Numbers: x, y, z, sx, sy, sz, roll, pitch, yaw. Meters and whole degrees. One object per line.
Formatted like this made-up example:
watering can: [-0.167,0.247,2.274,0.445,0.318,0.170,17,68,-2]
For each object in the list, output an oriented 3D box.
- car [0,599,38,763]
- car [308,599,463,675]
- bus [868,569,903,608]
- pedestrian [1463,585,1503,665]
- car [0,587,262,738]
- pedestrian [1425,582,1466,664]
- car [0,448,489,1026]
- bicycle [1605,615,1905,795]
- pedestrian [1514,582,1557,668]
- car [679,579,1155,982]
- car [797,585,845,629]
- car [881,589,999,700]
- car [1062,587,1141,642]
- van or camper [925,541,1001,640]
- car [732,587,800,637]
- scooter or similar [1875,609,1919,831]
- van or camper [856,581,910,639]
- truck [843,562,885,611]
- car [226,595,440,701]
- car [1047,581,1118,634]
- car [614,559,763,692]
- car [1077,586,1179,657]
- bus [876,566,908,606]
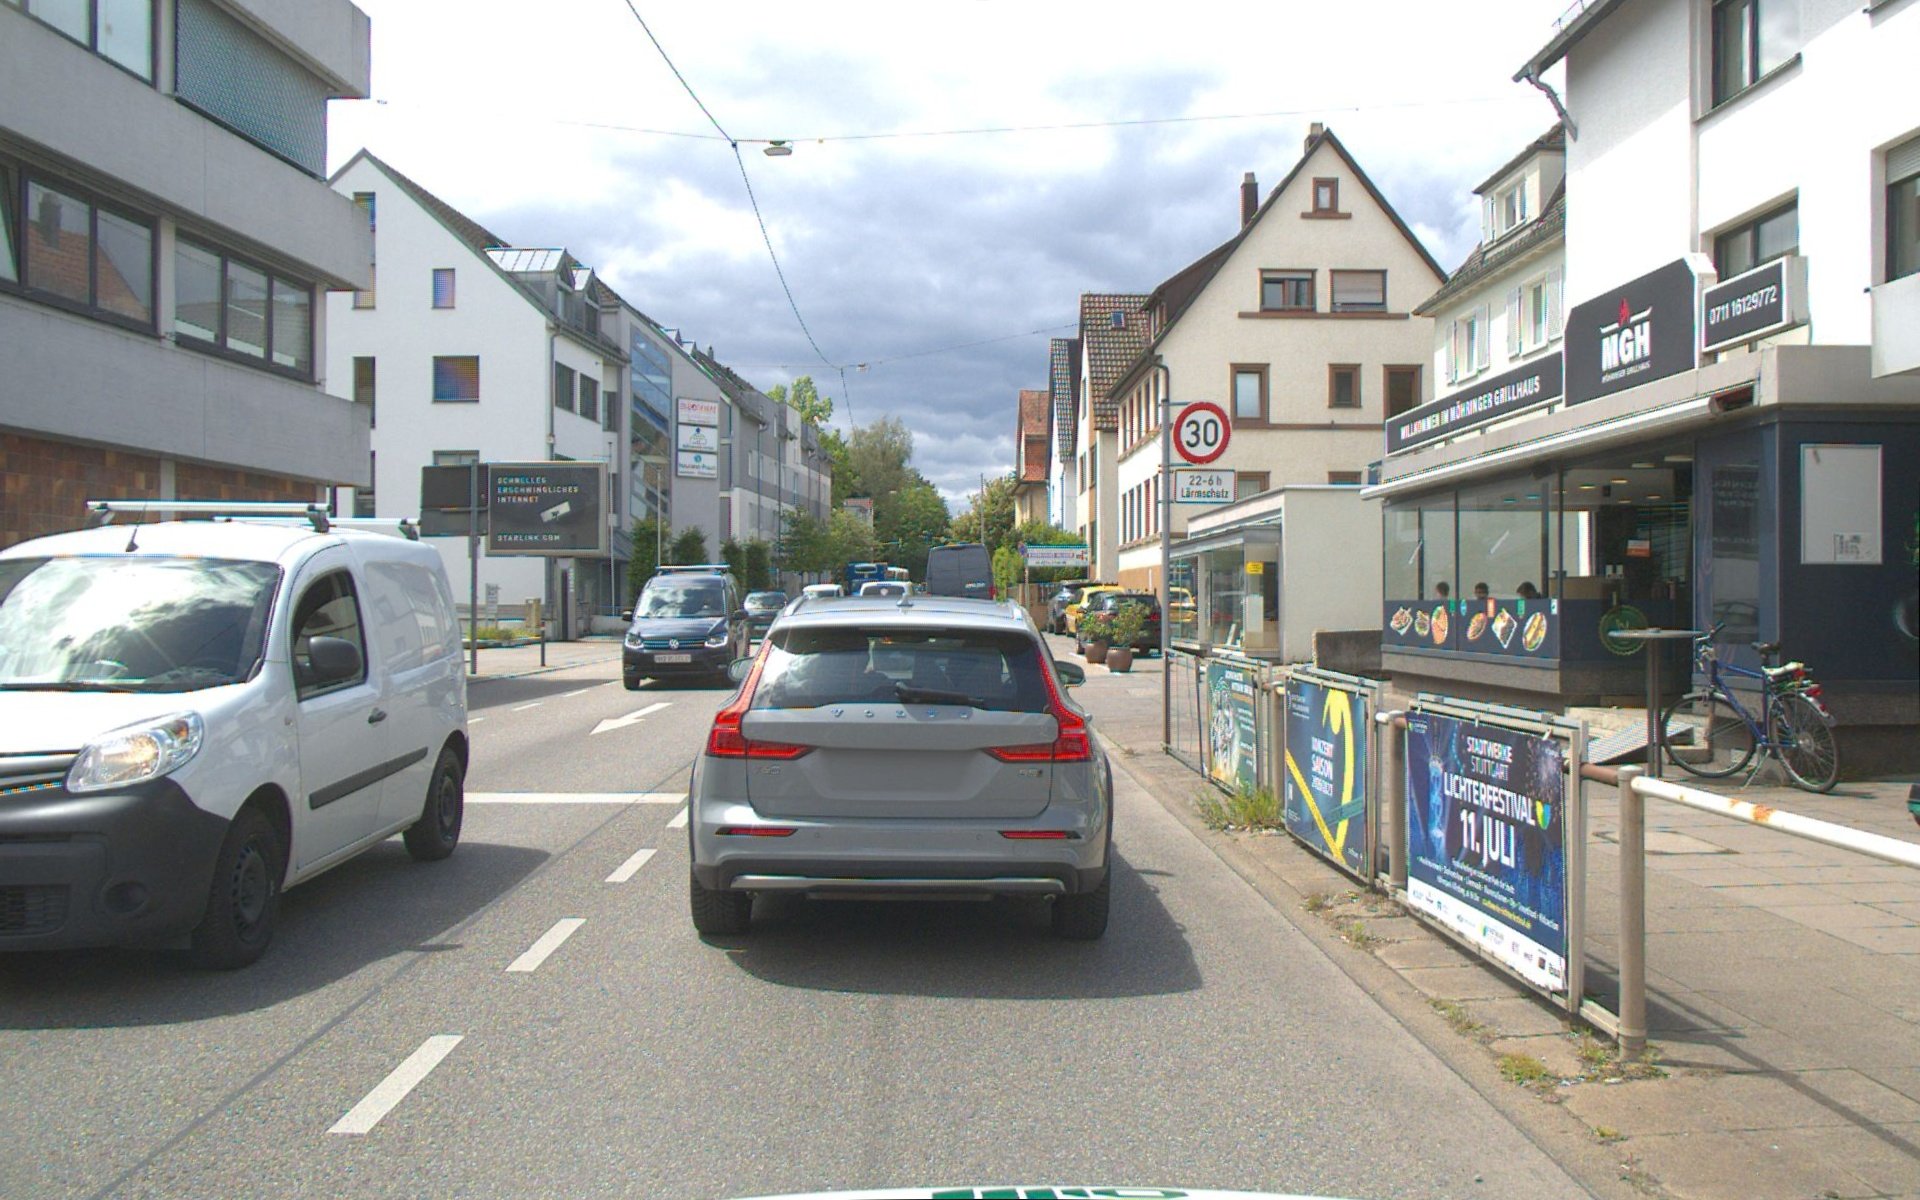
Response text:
car: [-9.662,0.730,13.274,1.864,1.468,4.445,1,1,3]
car: [-11.741,0.711,34.083,1.867,1.422,3.841,-1,0,-1]
bus: [-5.311,-0.842,119.006,2.229,2.715,7.428,-1,0,-1]
pedestrian: [7.028,0.332,22.226,0.406,1.070,0.367,-1,0,-3]
car: [-9.506,0.657,19.178,1.575,1.570,2.944,1,1,-1]
pedestrian: [6.382,0.298,21.750,0.406,1.070,0.367,-1,0,-3]
car: [-3.625,0.463,7.643,1.801,1.951,4.154,0,0,-2]
bicycle: [5.792,0.715,12.238,0.546,1.164,2.287,-1,0,-19]
pedestrian: [7.265,0.311,20.886,0.406,1.070,0.367,-1,0,-3]
car: [-0.223,0.675,8.259,1.799,1.512,3.998,0,0,-2]
car: [-6.051,0.346,72.175,1.761,1.848,3.999,0,-1,-1]
car: [-0.330,0.619,24.546,1.617,1.508,3.606,0,0,-2]
car: [3.925,0.432,46.355,1.844,1.440,3.970,0,-1,-1]
van or camper: [0.065,-0.284,48.867,2.080,2.733,4.780,-1,0,-1]
car: [-5.942,0.348,51.123,1.727,1.451,3.999,-1,0,-2]
scooter or similar: [5.855,0.683,9.284,0.336,1.275,1.235,-2,0,-27]
van or camper: [-2.615,0.378,56.615,1.782,1.867,3.998,0,-2,-2]
truck: [-5.919,-0.859,103.035,2.229,2.937,7.078,-1,0,-1]
car: [-9.477,0.677,25.318,1.719,1.451,3.863,-1,0,1]
car: [3.709,0.264,50.756,1.844,1.526,3.970,0,-1,-1]
car: [-4.353,0.389,27.132,1.801,1.951,4.529,-1,0,-2]
car: [3.733,0.503,37.275,1.676,1.490,3.997,1,-1,-3]
bus: [-5.196,-1.045,127.319,2.229,2.952,7.078,-1,0,-1]
